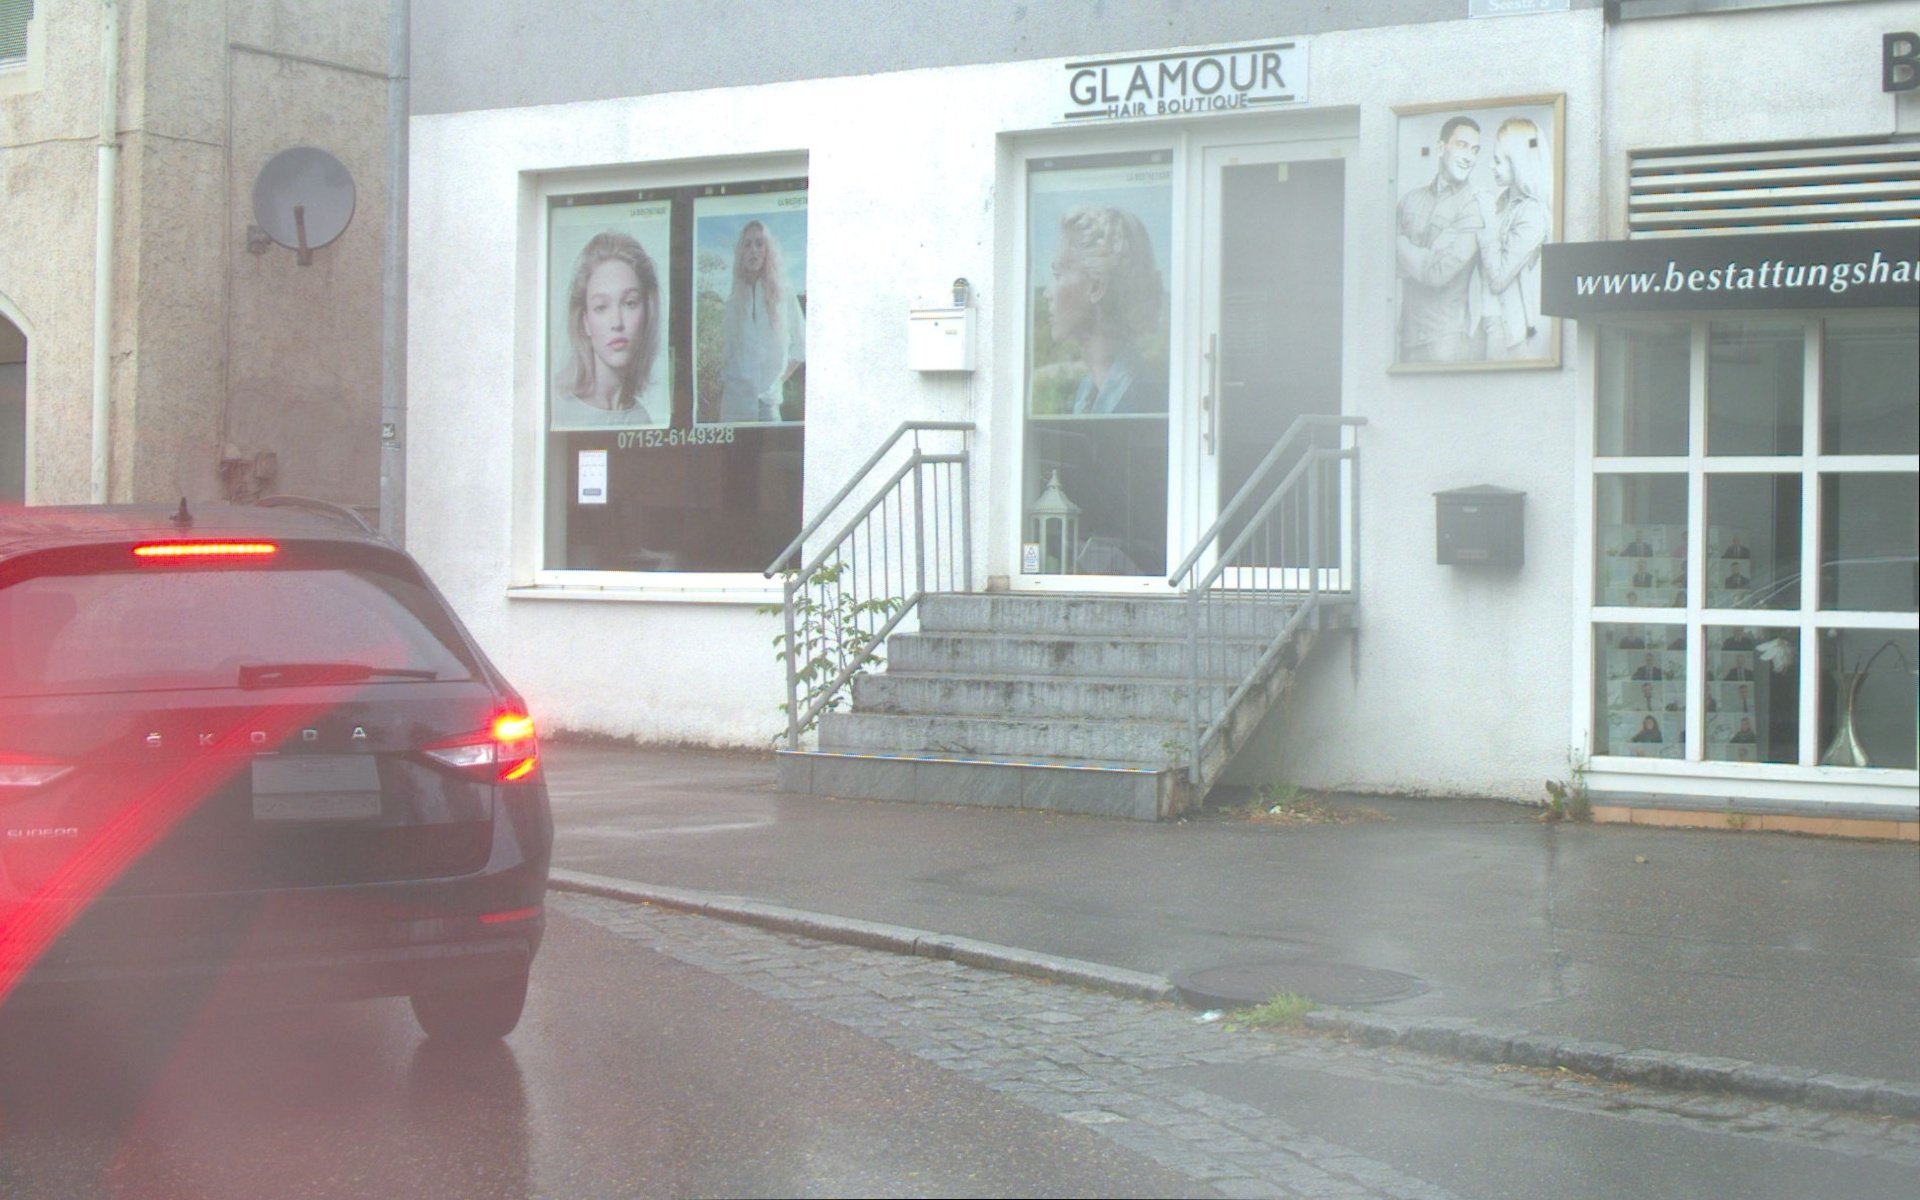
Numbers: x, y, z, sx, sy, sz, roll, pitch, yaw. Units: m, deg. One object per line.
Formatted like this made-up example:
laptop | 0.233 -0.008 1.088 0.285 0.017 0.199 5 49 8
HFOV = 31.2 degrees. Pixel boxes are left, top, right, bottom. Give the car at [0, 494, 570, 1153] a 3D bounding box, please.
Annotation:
car | -2.569 0.447 9.994 1.732 1.445 4.243 -1 3 -23
